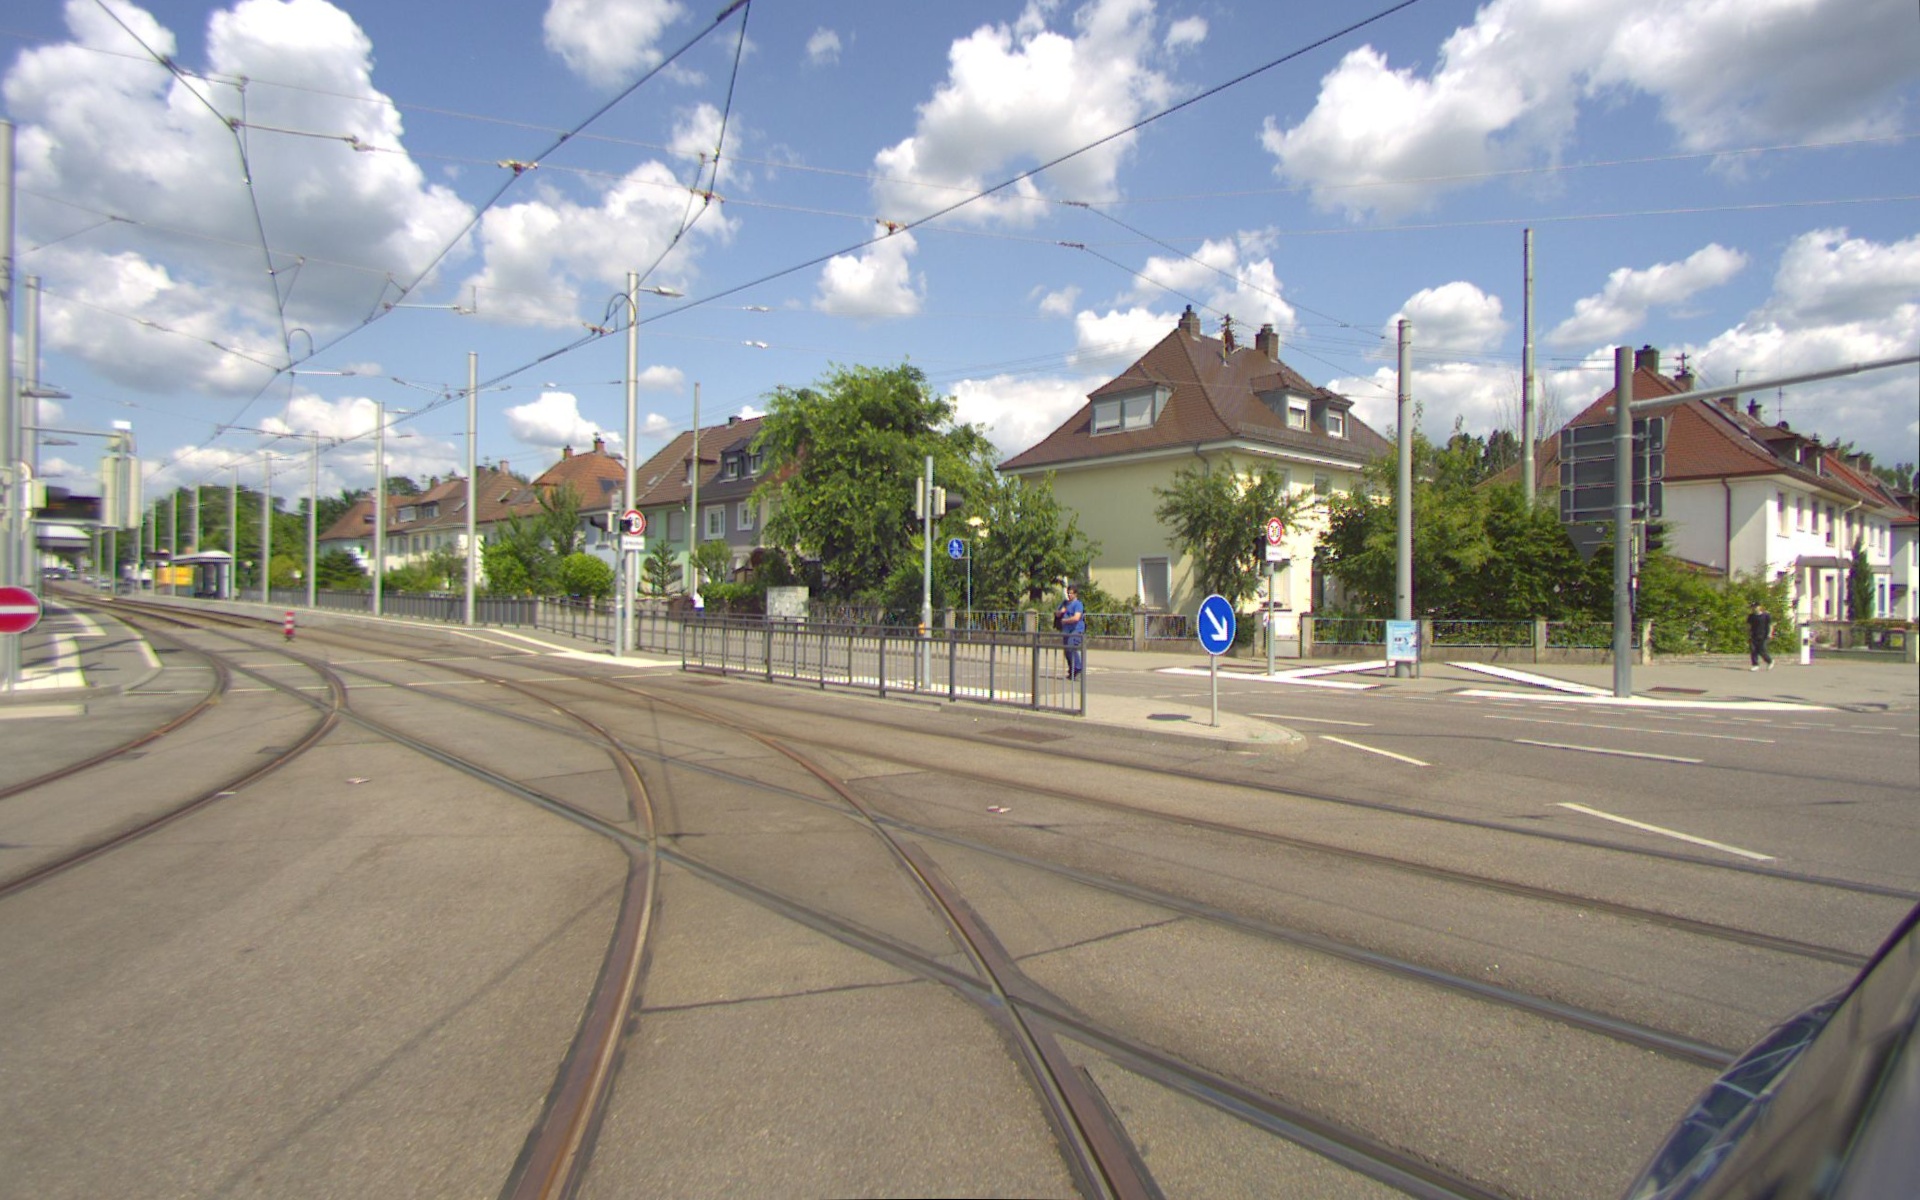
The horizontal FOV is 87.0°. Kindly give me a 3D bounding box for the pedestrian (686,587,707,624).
[{"bbox_3d":[-10.468,0.199,40.207,0.674,1.450,0.515,0,0,-32],"label":"pedestrian"}]

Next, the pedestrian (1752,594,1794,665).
[{"bbox_3d":[20.771,0.738,25.868,0.920,1.790,0.593,0,0,-35],"label":"pedestrian"}]

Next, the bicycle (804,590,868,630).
[{"bbox_3d":[-4.405,0.327,35.884,2.792,1.351,0.613,0,0,43],"label":"bicycle"}]

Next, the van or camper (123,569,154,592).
[{"bbox_3d":[-125.439,-2.942,154.508,7.102,3.250,2.959,-1,-1,45],"label":"van or camper"}]

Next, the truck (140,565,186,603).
[{"bbox_3d":[-76.984,-1.499,97.725,7.199,3.449,2.156,-1,-1,41],"label":"truck"}]

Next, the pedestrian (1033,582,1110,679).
[{"bbox_3d":[2.101,0.557,19.062,1.023,1.757,1.030,0,0,-44],"label":"pedestrian"}]
